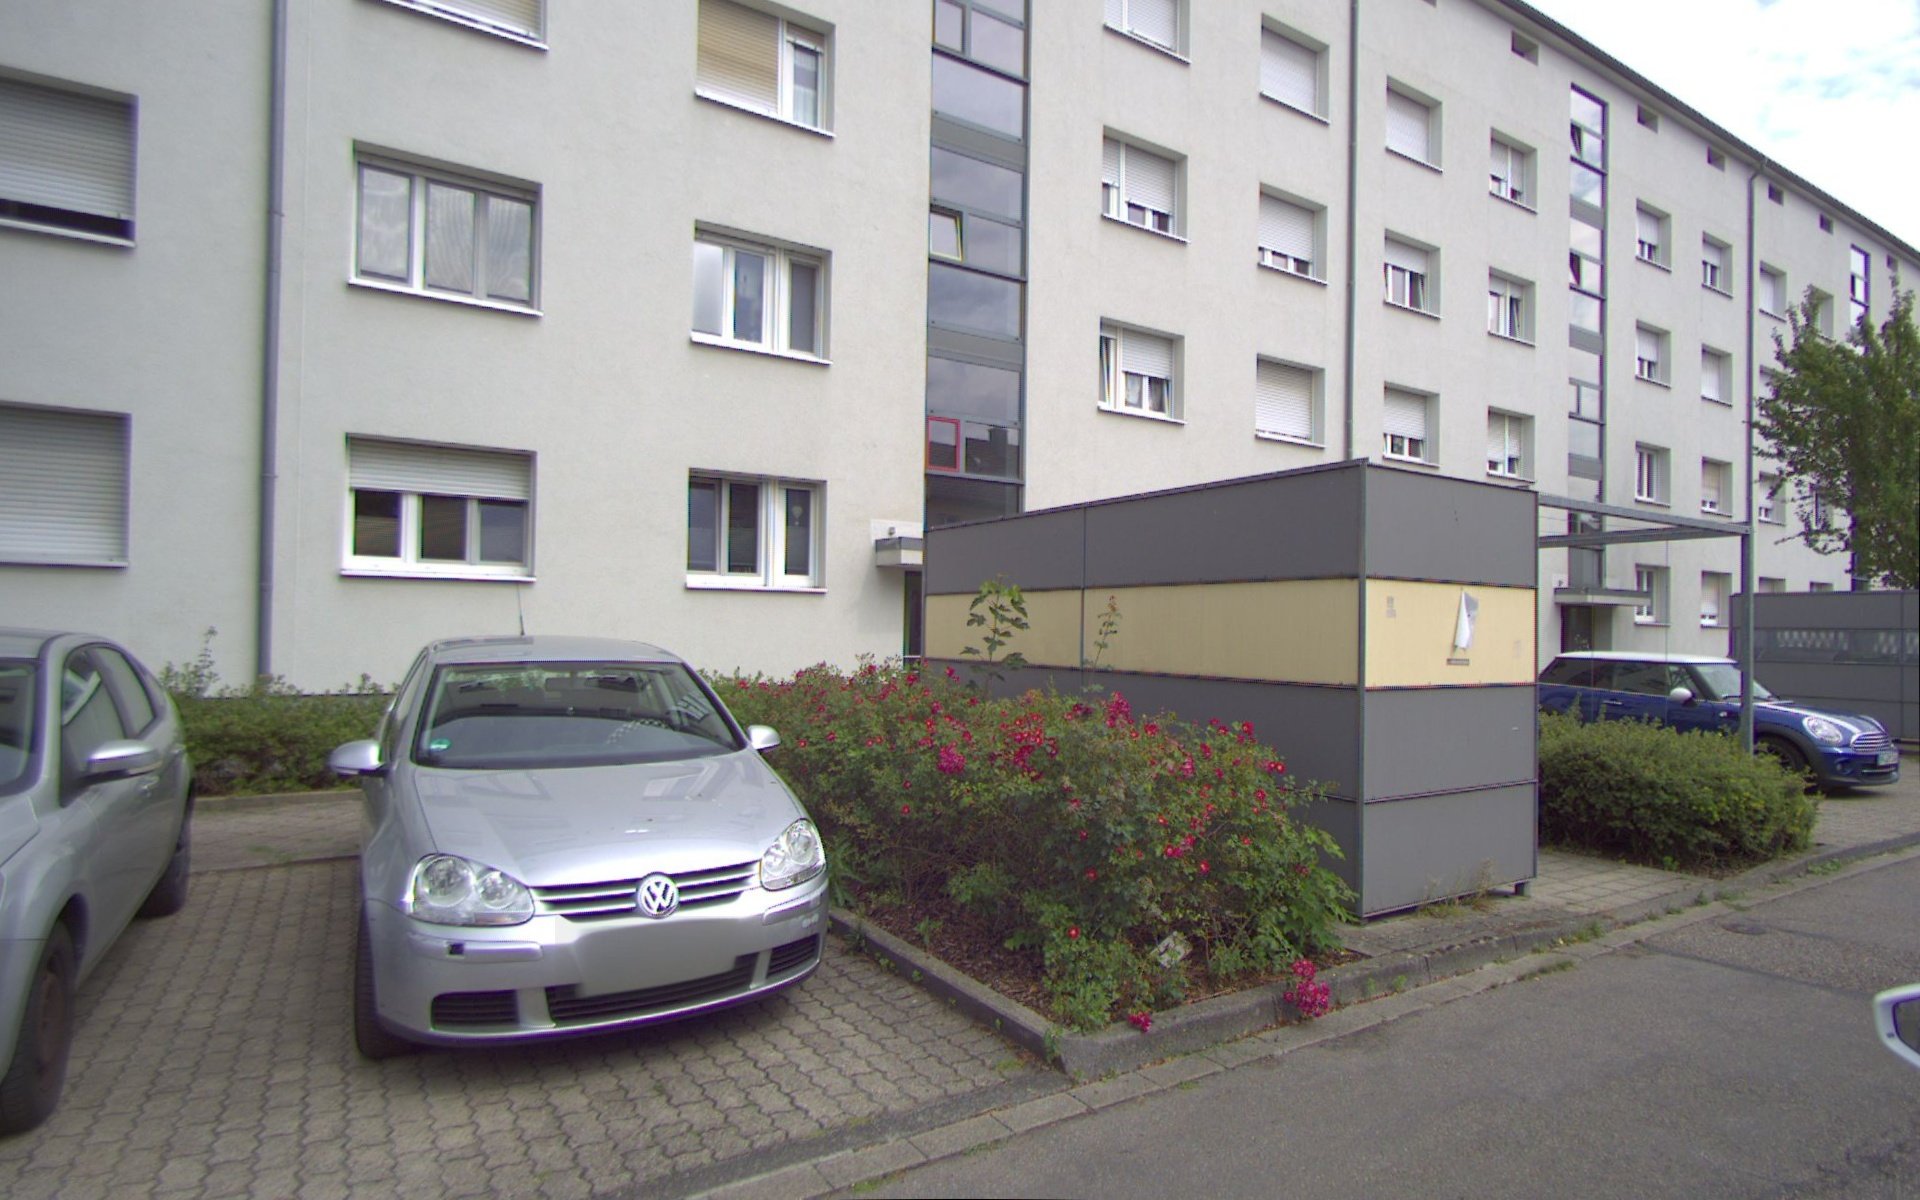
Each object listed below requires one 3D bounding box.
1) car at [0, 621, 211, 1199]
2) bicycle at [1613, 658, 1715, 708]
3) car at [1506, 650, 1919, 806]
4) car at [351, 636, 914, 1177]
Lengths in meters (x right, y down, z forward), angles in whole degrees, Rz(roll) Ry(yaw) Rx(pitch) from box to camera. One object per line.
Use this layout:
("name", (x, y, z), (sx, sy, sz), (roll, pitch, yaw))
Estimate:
("car", (-4.077, 0.850, 3.632), (1.762, 1.525, 4.031), (2, -3, -31))
("bicycle", (15.543, 1.826, 22.215), (1.775, 1.038, 0.479), (0, -1, 18))
("car", (8.605, 1.346, 11.756), (1.632, 1.480, 3.621), (2, -3, -28))
("car", (-1.961, 0.935, 4.979), (1.762, 1.483, 4.031), (2, -3, -31))
